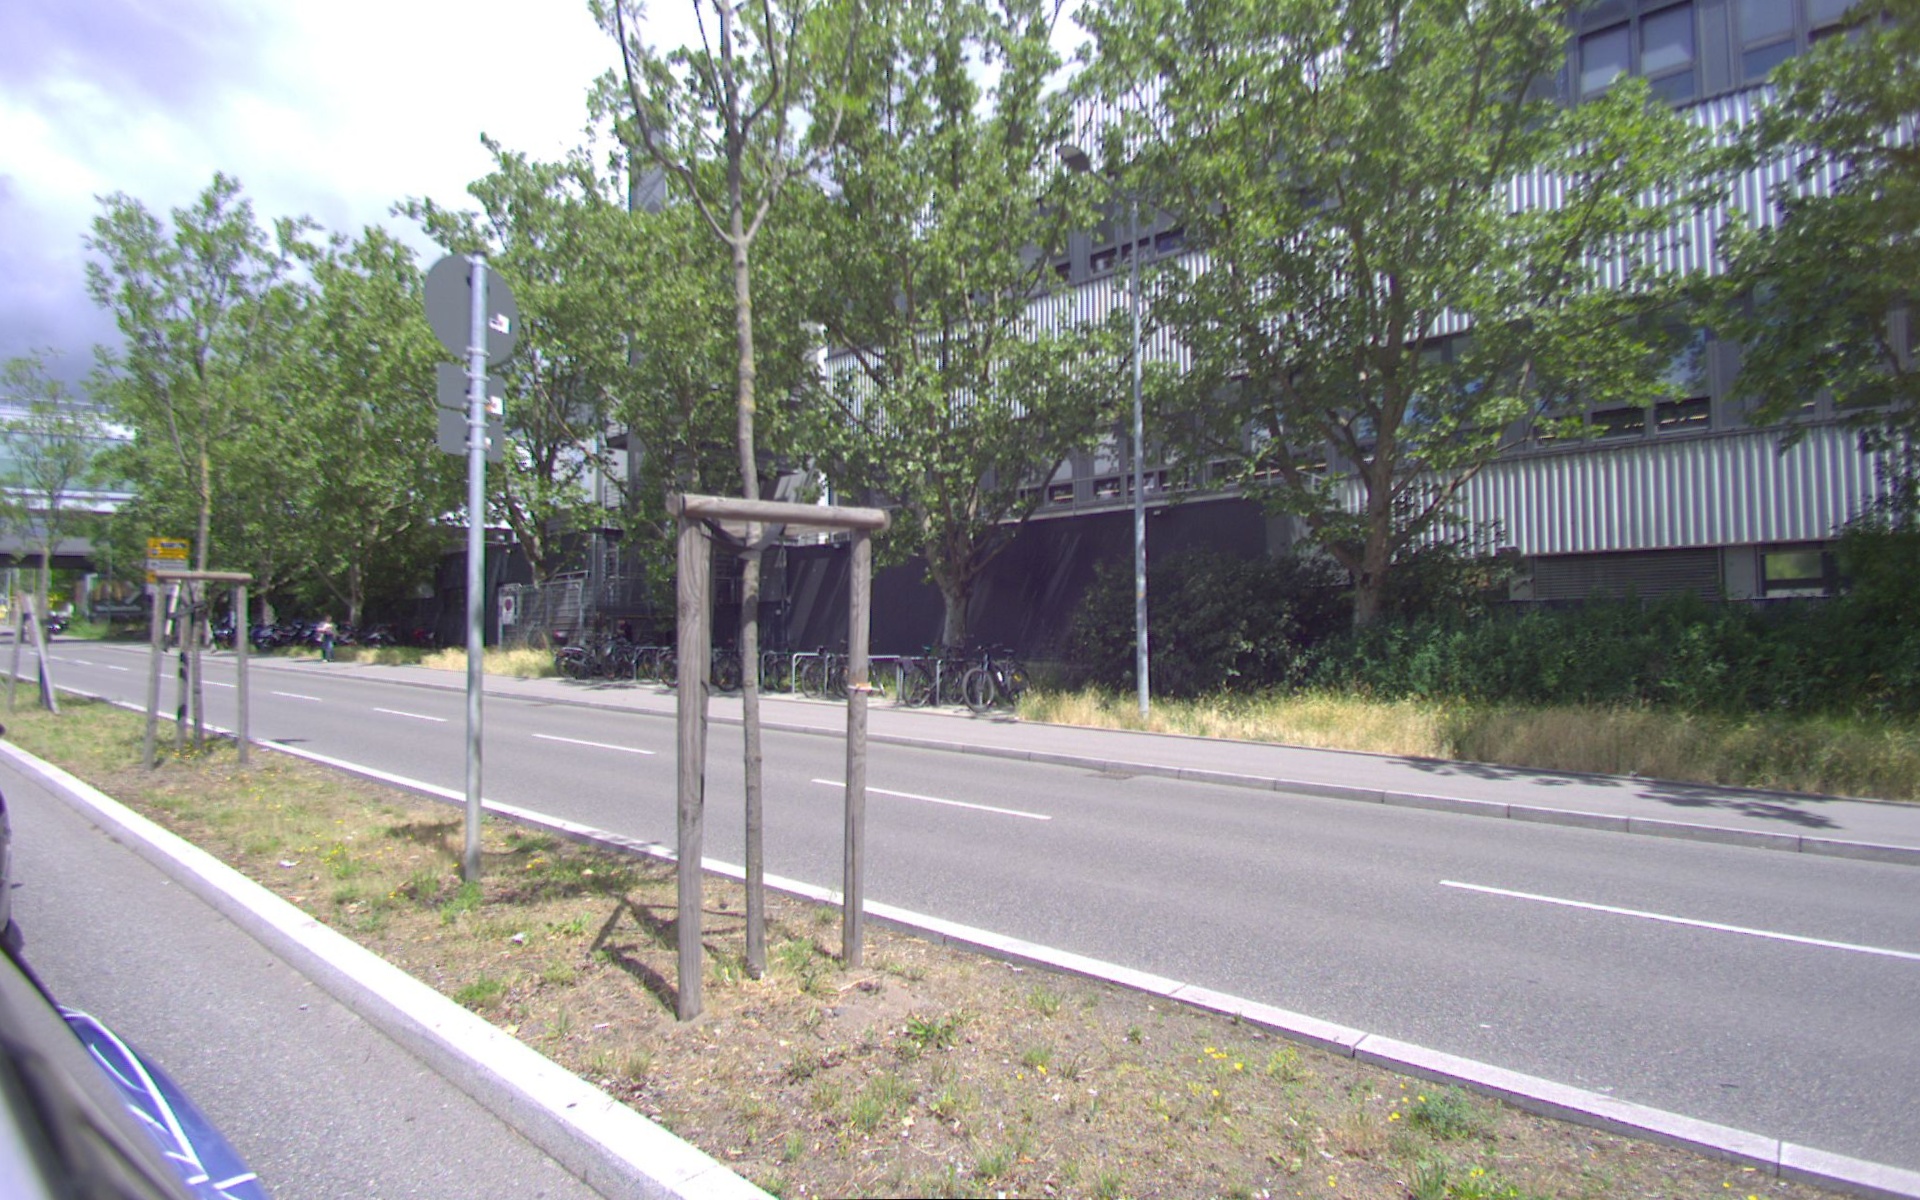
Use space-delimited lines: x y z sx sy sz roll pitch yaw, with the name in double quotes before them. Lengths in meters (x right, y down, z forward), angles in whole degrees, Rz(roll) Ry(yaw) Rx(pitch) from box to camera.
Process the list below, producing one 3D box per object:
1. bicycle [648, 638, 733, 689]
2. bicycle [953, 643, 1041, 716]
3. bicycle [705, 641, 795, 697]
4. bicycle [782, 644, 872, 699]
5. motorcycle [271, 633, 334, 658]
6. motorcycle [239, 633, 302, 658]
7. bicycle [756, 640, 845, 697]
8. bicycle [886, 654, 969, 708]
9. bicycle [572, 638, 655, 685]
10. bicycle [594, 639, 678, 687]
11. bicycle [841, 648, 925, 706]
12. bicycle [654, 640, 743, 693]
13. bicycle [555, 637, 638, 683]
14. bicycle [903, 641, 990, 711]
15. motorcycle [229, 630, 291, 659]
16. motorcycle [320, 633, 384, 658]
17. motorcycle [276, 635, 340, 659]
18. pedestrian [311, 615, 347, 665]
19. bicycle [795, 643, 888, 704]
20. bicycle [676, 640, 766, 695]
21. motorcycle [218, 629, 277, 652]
"bicycle" -6.479 1.510 24.422 0.382 1.119 2.101 -2 -1 43
"bicycle" 0.661 1.338 17.405 0.381 1.137 1.968 -2 -1 39
"bicycle" -4.541 1.478 22.024 0.382 1.119 2.101 -2 -1 43
"bicycle" -2.742 1.478 21.144 0.382 1.038 2.101 -2 -1 43
"motorcycle" -26.911 1.846 41.427 0.534 0.976 2.105 -2 -1 41
"motorcycle" -28.780 1.896 42.249 0.534 0.976 2.105 -2 -1 41
"bicycle" -3.410 1.455 21.758 0.382 1.119 2.101 -2 -1 43
"bicycle" -0.596 1.520 19.229 0.381 0.897 1.968 -2 -1 39
"bicycle" -8.902 1.569 26.094 0.382 1.119 2.101 -2 -1 43
"bicycle" -8.158 1.565 25.546 0.382 1.119 2.101 -2 -1 43
"bicycle" -1.468 1.475 19.714 0.381 1.005 1.968 -2 -1 39
"bicycle" -5.988 1.498 23.272 0.382 1.119 2.101 -2 -1 43
"bicycle" -9.544 1.550 26.640 0.382 1.119 2.101 -2 -1 43
"bicycle" -0.218 1.334 18.127 0.381 1.137 1.968 -2 -1 39
"motorcycle" -29.880 1.884 43.220 0.534 1.146 2.105 -2 -1 41
"motorcycle" -23.973 1.782 39.935 0.534 0.905 2.105 -2 -1 41
"motorcycle" -26.222 1.894 40.746 0.534 0.892 2.105 -2 -1 41
"pedestrian" -22.193 1.399 35.597 0.672 1.734 0.888 -2 -2 41
"bicycle" -2.338 1.434 20.236 0.382 1.104 2.101 -2 -1 43
"bicycle" -5.331 1.487 22.675 0.382 1.119 2.101 -2 -1 43
"motorcycle" -31.777 1.795 45.160 0.534 0.976 2.105 -2 -1 41
